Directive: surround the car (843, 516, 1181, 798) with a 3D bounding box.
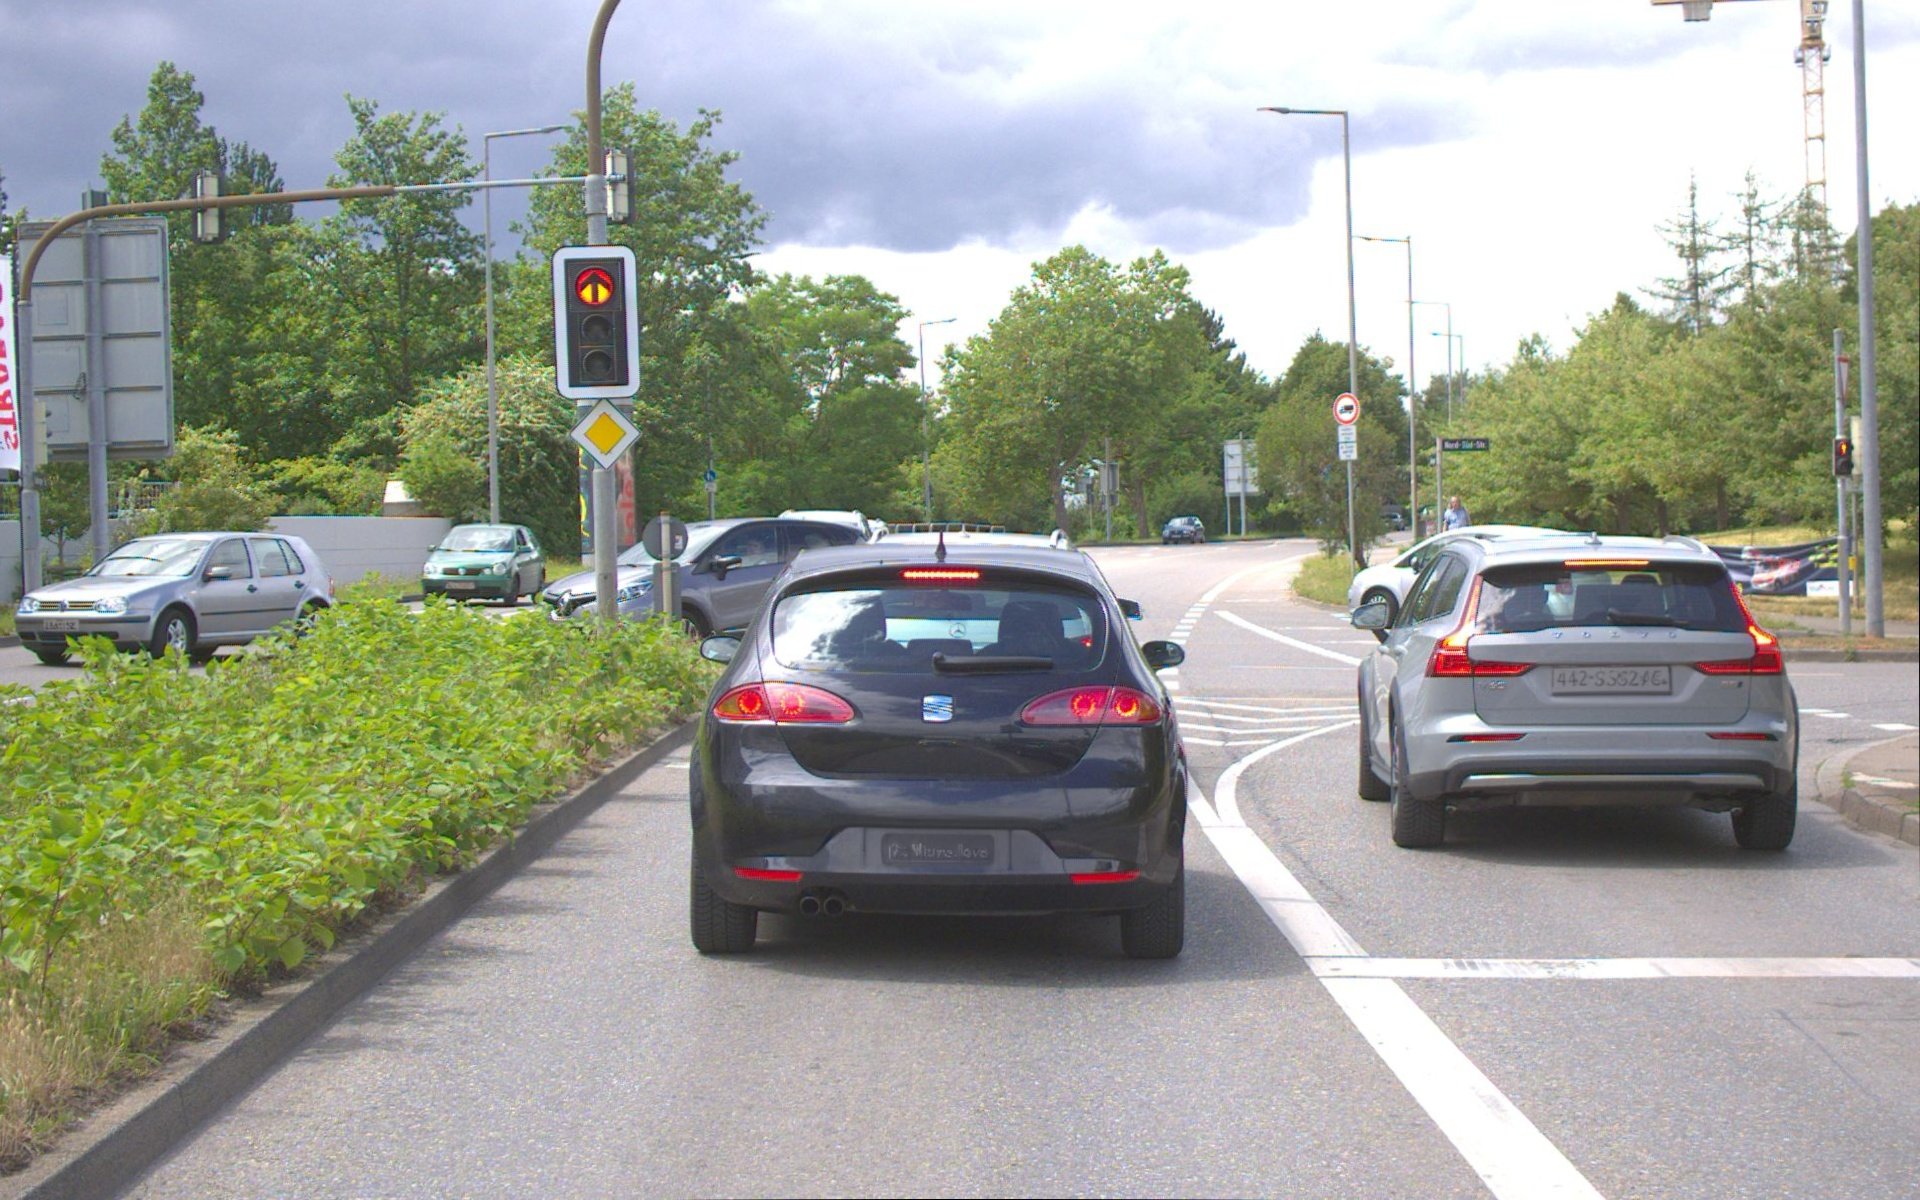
[{"bbox_3d":[0.225,0.267,20.455,1.773,1.486,3.583,-1,1,-2],"label":"car"}]

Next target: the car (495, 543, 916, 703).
[{"bbox_3d":[-2.623,0.189,35.868,3.989,1.511,1.941,-2,2,-40],"label":"car"}]

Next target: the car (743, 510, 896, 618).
[{"bbox_3d":[-2.140,-0.590,53.307,1.994,1.590,4.000,0,2,3],"label":"car"}]

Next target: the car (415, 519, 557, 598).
[{"bbox_3d":[-8.418,-0.760,61.311,1.993,1.347,4.000,0,1,0],"label":"car"}]

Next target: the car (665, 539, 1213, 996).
[{"bbox_3d":[-0.077,0.514,12.970,1.773,1.447,3.582,0,1,0],"label":"car"}]

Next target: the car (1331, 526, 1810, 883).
[{"bbox_3d":[2.936,0.417,17.413,1.863,1.513,4.446,-1,1,4],"label":"car"}]

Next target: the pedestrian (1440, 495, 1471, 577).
[{"bbox_3d":[10.480,-1.361,72.670,0.559,1.720,0.588,0,1,1],"label":"pedestrian"}]

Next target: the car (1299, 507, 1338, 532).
[{"bbox_3d":[19.756,-4.420,189.369,1.994,1.347,3.999,0,2,8],"label":"car"}]

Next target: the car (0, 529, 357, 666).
[{"bbox_3d":[-8.625,-0.066,37.420,1.997,1.349,3.994,0,2,29],"label":"car"}]

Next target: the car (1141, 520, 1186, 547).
[{"bbox_3d":[10.522,-3.458,177.680,1.994,1.347,3.999,0,2,8],"label":"car"}]

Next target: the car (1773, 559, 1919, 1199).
[{"bbox_3d":[2.803,0.678,4.670,1.872,1.436,5.201,-1,1,-3],"label":"car"}]

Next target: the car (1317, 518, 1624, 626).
[{"bbox_3d":[7.493,-0.435,50.563,3.995,1.525,1.996,1,2,36],"label":"car"}]
